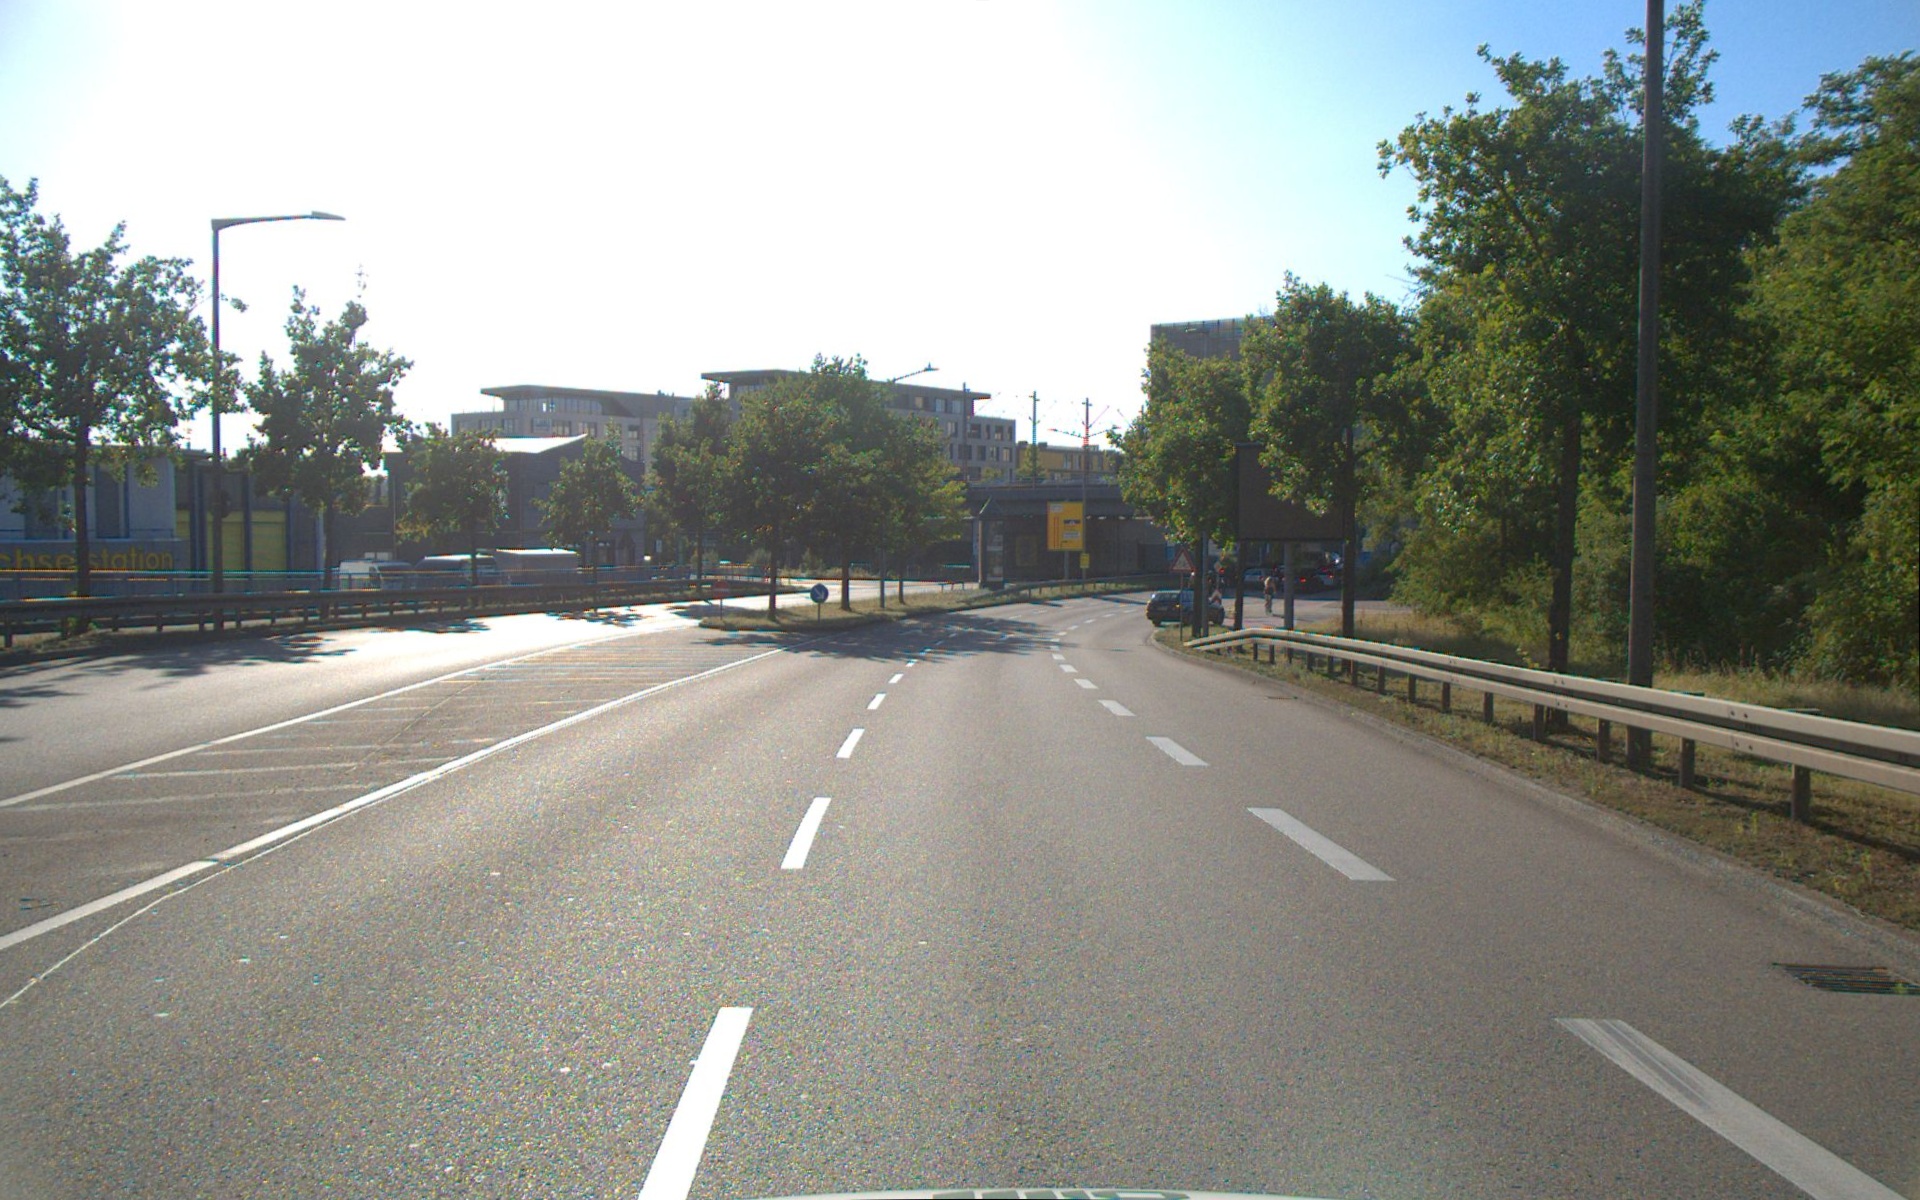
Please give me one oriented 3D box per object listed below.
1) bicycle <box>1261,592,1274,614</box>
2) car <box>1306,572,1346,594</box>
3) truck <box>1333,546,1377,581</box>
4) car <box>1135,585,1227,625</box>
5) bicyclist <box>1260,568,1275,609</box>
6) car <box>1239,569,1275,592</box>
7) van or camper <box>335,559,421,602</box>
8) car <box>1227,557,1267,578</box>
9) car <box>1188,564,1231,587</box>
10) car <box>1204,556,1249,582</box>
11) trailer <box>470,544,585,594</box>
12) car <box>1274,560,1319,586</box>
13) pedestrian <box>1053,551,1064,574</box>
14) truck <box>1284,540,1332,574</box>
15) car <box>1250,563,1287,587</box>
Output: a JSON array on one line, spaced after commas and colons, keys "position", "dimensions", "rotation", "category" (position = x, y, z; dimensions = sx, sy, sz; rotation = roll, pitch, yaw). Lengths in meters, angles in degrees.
[{"position": [14.948, 0.142, 80.470], "dimensions": [0.566, 0.980, 2.889], "rotation": [1, 2, 10], "category": "bicycle"}, {"position": [26.063, -1.197, 117.718], "dimensions": [1.740, 1.521, 3.824], "rotation": [1, 1, 30], "category": "car"}, {"position": [29.848, -2.755, 124.907], "dimensions": [2.072, 2.563, 4.393], "rotation": [1, 1, 29], "category": "truck"}, {"position": [9.283, 0.207, 69.347], "dimensions": [1.964, 1.534, 3.978], "rotation": [-2, 1, 41], "category": "car"}, {"position": [14.954, -0.553, 80.343], "dimensions": [0.667, 1.940, 0.834], "rotation": [1, 2, 10], "category": "bicyclist"}, {"position": [20.479, -1.362, 114.090], "dimensions": [1.517, 1.448, 3.414], "rotation": [-2, 1, 27], "category": "car"}, {"position": [-27.303, -0.941, 77.525], "dimensions": [4.151, 1.959, 1.989], "rotation": [1, 0, 40], "category": "van or camper"}, {"position": [21.211, -2.428, 122.111], "dimensions": [1.806, 1.465, 3.671], "rotation": [-2, 1, 28], "category": "car"}, {"position": [15.923, -1.570, 105.314], "dimensions": [1.551, 1.433, 3.828], "rotation": [2, 2, 26], "category": "car"}, {"position": [18.761, -2.204, 116.390], "dimensions": [1.794, 1.768, 4.455], "rotation": [2, 2, 28], "category": "car"}, {"position": [-18.372, -1.338, 70.674], "dimensions": [2.368, 2.004, 6.612], "rotation": [1, 1, 8], "category": "trailer"}, {"position": [22.693, -1.829, 111.295], "dimensions": [1.707, 1.479, 4.600], "rotation": [2, 4, 28], "category": "car"}, {"position": [8.386, -3.163, 140.793], "dimensions": [0.681, 1.936, 0.663], "rotation": [2, 2, 33], "category": "pedestrian"}, {"position": [28.076, -3.464, 133.346], "dimensions": [1.991, 2.601, 5.525], "rotation": [2, 2, 31], "category": "truck"}, {"position": [23.714, -1.944, 127.076], "dimensions": [1.805, 1.749, 3.997], "rotation": [-2, 1, 26], "category": "car"}]
